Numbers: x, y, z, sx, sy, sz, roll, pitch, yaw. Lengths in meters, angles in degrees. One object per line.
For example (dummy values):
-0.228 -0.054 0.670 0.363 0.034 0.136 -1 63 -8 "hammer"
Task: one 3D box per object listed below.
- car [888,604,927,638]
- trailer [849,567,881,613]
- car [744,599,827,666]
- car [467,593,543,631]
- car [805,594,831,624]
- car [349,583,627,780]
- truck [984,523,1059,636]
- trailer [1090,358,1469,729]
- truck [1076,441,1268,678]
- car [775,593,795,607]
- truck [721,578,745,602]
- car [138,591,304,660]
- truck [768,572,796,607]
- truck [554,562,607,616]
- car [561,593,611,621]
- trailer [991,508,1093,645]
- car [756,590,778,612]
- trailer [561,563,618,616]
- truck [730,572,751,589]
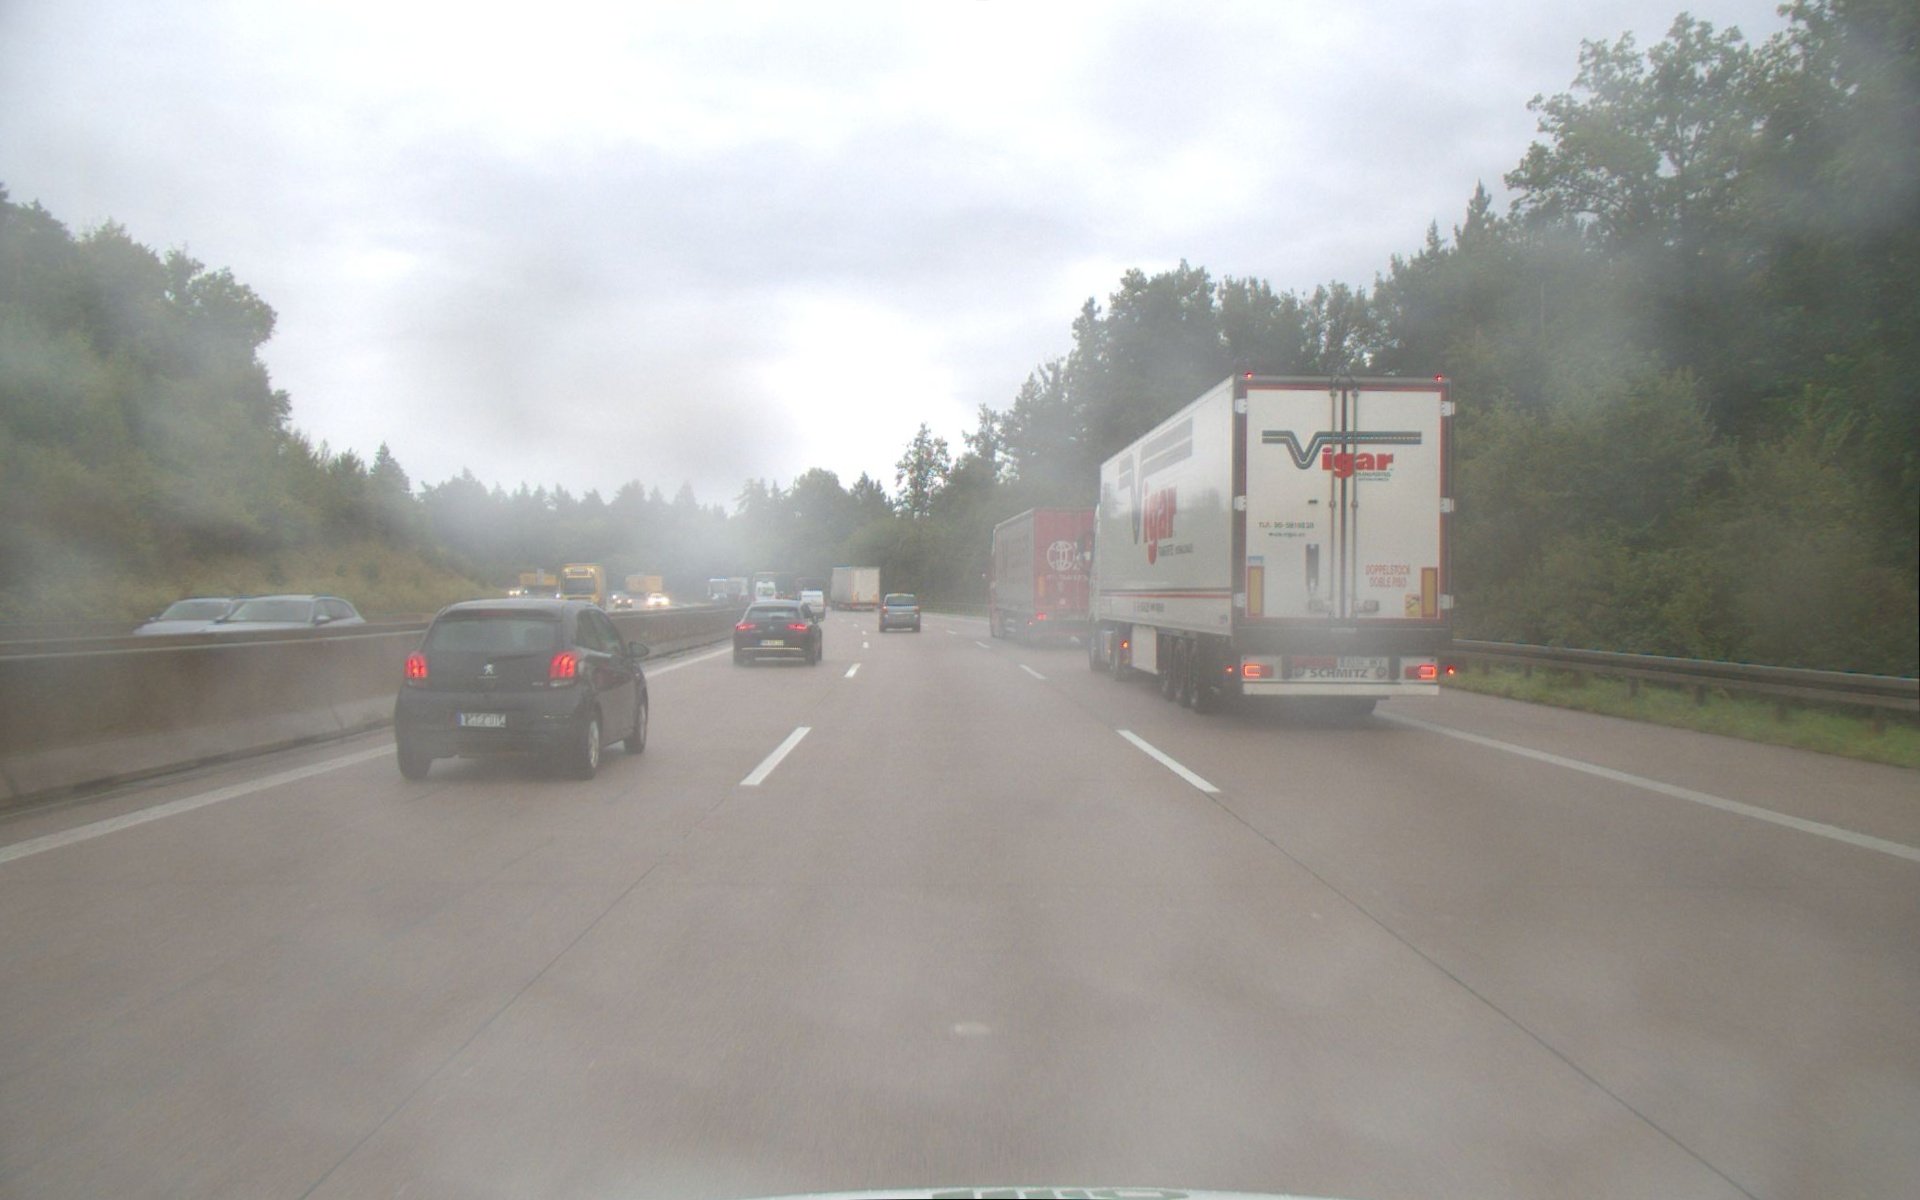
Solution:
-2.289 0.893 71.355 1.523 1.375 3.681 2 0 -3 "car"
-9.049 -1.030 156.474 2.373 4.139 12.037 0 1 -7 "trailer"
-3.898 0.700 37.390 1.522 1.375 3.683 2 0 -1 "car"
-17.265 0.438 62.960 1.766 1.357 4.562 0 0 -2 "car"
-9.682 0.594 112.706 1.692 2.049 3.652 0 0 -6 "car"
-4.050 0.631 14.757 1.651 1.488 3.680 2 0 -5 "car"
2.235 -0.731 62.324 2.327 4.023 6.157 0 0 -2 "truck"
4.153 -0.673 25.516 2.679 4.175 13.676 0 0 -2 "trailer"
3.946 -0.723 32.131 2.742 4.175 5.965 0 0 -2 "truck"
-18.693 -0.019 176.925 1.844 1.499 3.997 2 0 -4 "car"
-29.770 -1.388 217.444 3.024 2.956 7.891 1 1 -7 "truck"
-16.135 0.520 36.387 1.625 1.395 4.720 0 0 -1 "car"
-22.397 -1.347 207.513 3.305 4.203 10.421 0 1 -7 "truck"
-28.707 -0.798 125.348 2.968 3.942 8.105 0 0 -7 "truck"
-19.236 0.344 85.302 1.766 1.357 4.561 0 0 -3 "car"
2.531 -0.703 54.991 2.323 4.023 12.515 0 0 -2 "trailer"
-18.387 0.070 157.606 1.955 2.095 3.994 0 0 -7 "car"
-29.430 -0.819 131.897 2.956 3.942 13.682 0 0 -6 "trailer"
-31.567 -2.796 238.013 2.918 2.350 6.657 2 0 -7 "truck"
